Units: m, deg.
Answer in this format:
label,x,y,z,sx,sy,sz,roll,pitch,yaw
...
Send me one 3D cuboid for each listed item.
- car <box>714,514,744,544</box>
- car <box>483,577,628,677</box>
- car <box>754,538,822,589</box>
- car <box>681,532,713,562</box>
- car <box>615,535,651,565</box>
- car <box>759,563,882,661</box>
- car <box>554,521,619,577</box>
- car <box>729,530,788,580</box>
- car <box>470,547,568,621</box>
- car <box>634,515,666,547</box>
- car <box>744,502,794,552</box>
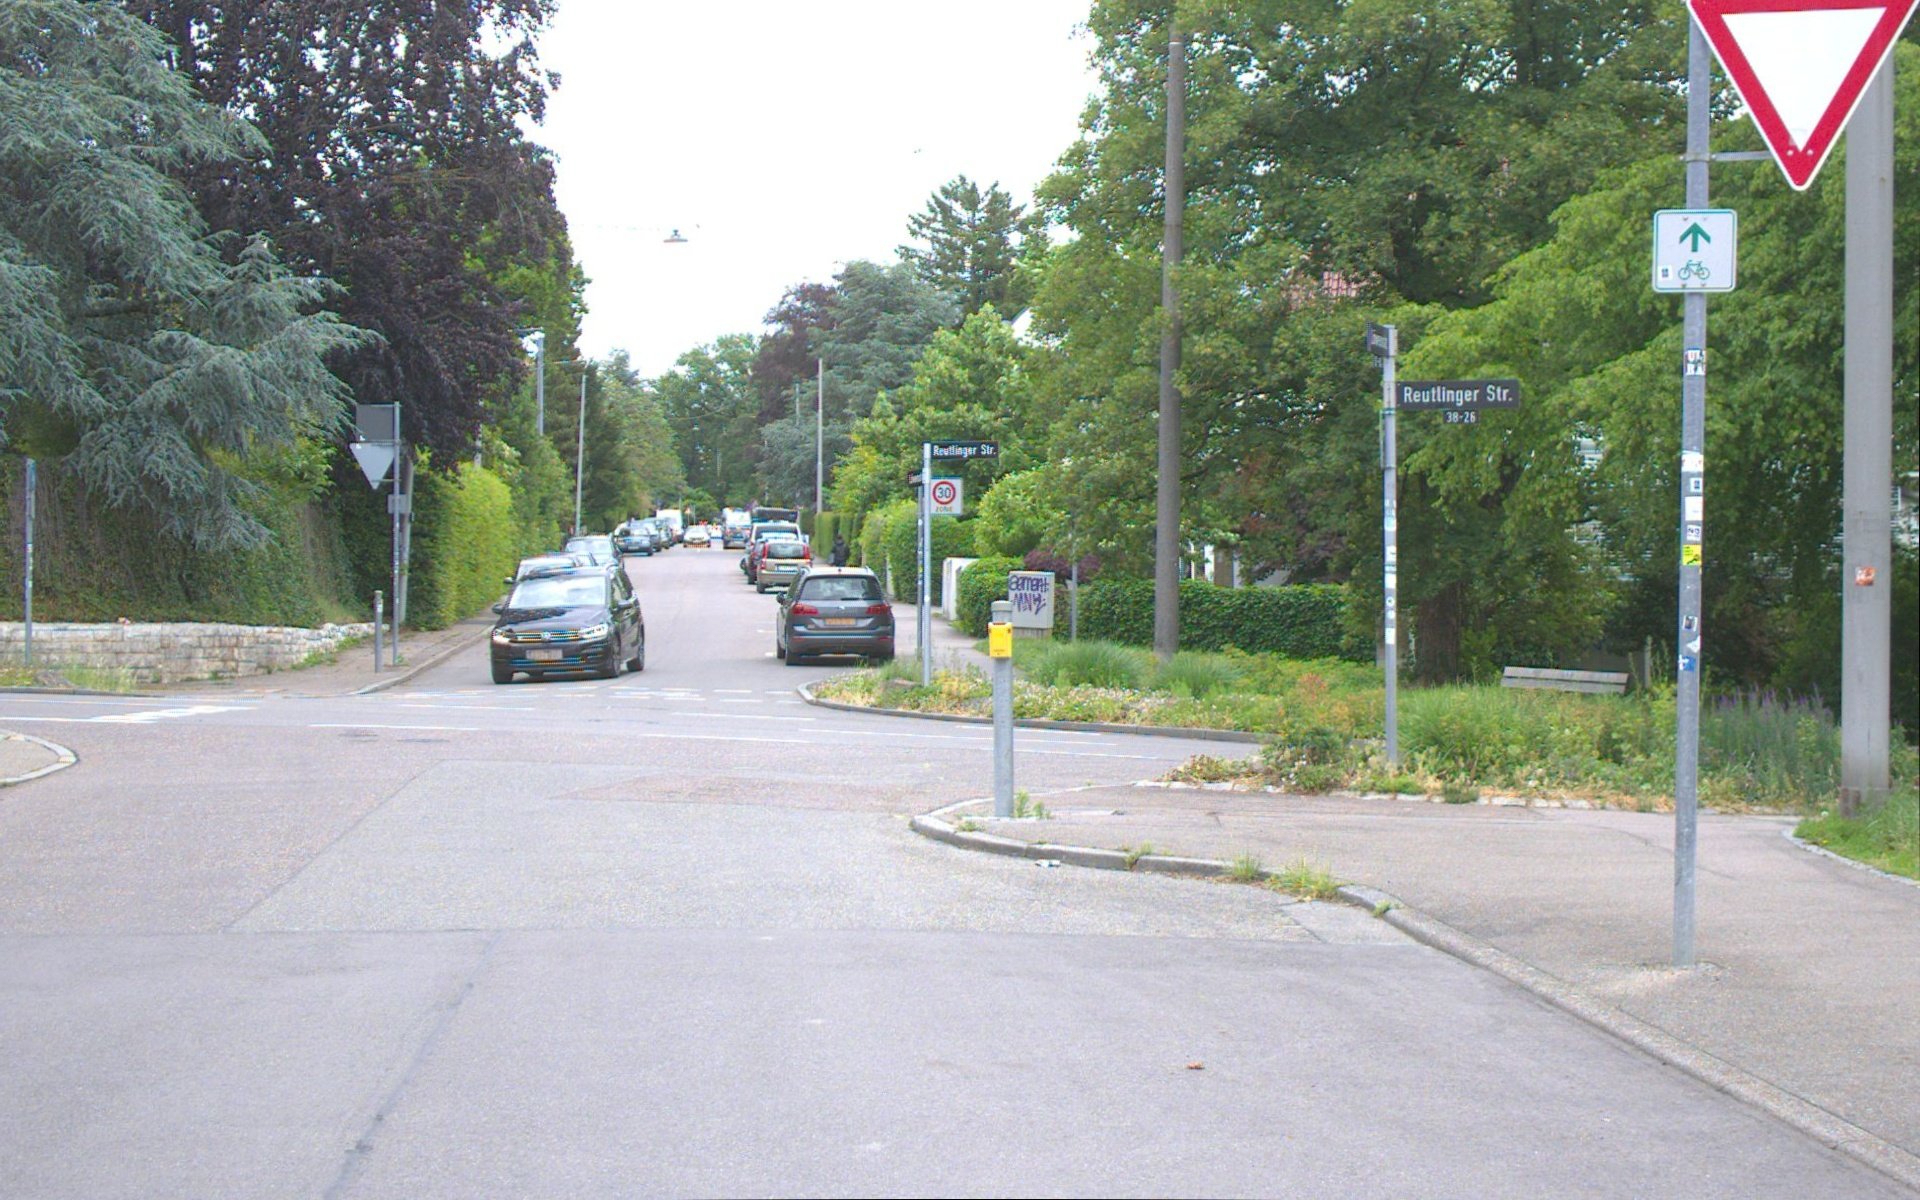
label,x,y,z,sx,sy,sz,roll,pitch,yaw
car,-13.124,-4.039,195.227,1.633,1.695,3.495,1,1,-5
car,-5.904,0.368,50.517,1.728,1.402,3.804,0,1,-1
car,-4.988,-1.075,99.524,1.810,1.331,3.633,2,2,-5
car,-17.229,-3.496,224.959,1.993,1.875,4.001,2,1,-5
car,-15.593,-2.384,163.861,1.626,1.381,3.599,2,1,-5
car,-2.316,0.171,56.097,1.778,1.484,4.001,2,1,-5
car,-11.187,-1.551,103.088,1.711,1.580,4.001,0,2,-3
car,-6.326,-1.423,108.391,1.789,1.524,3.734,0,1,-3
car,-9.678,-0.373,75.674,1.711,1.580,4.000,1,1,-1
car,-18.997,-4.196,210.791,1.817,1.875,4.001,2,1,-5
car,-6.711,-2.554,120.492,1.633,1.695,3.495,1,1,-5
